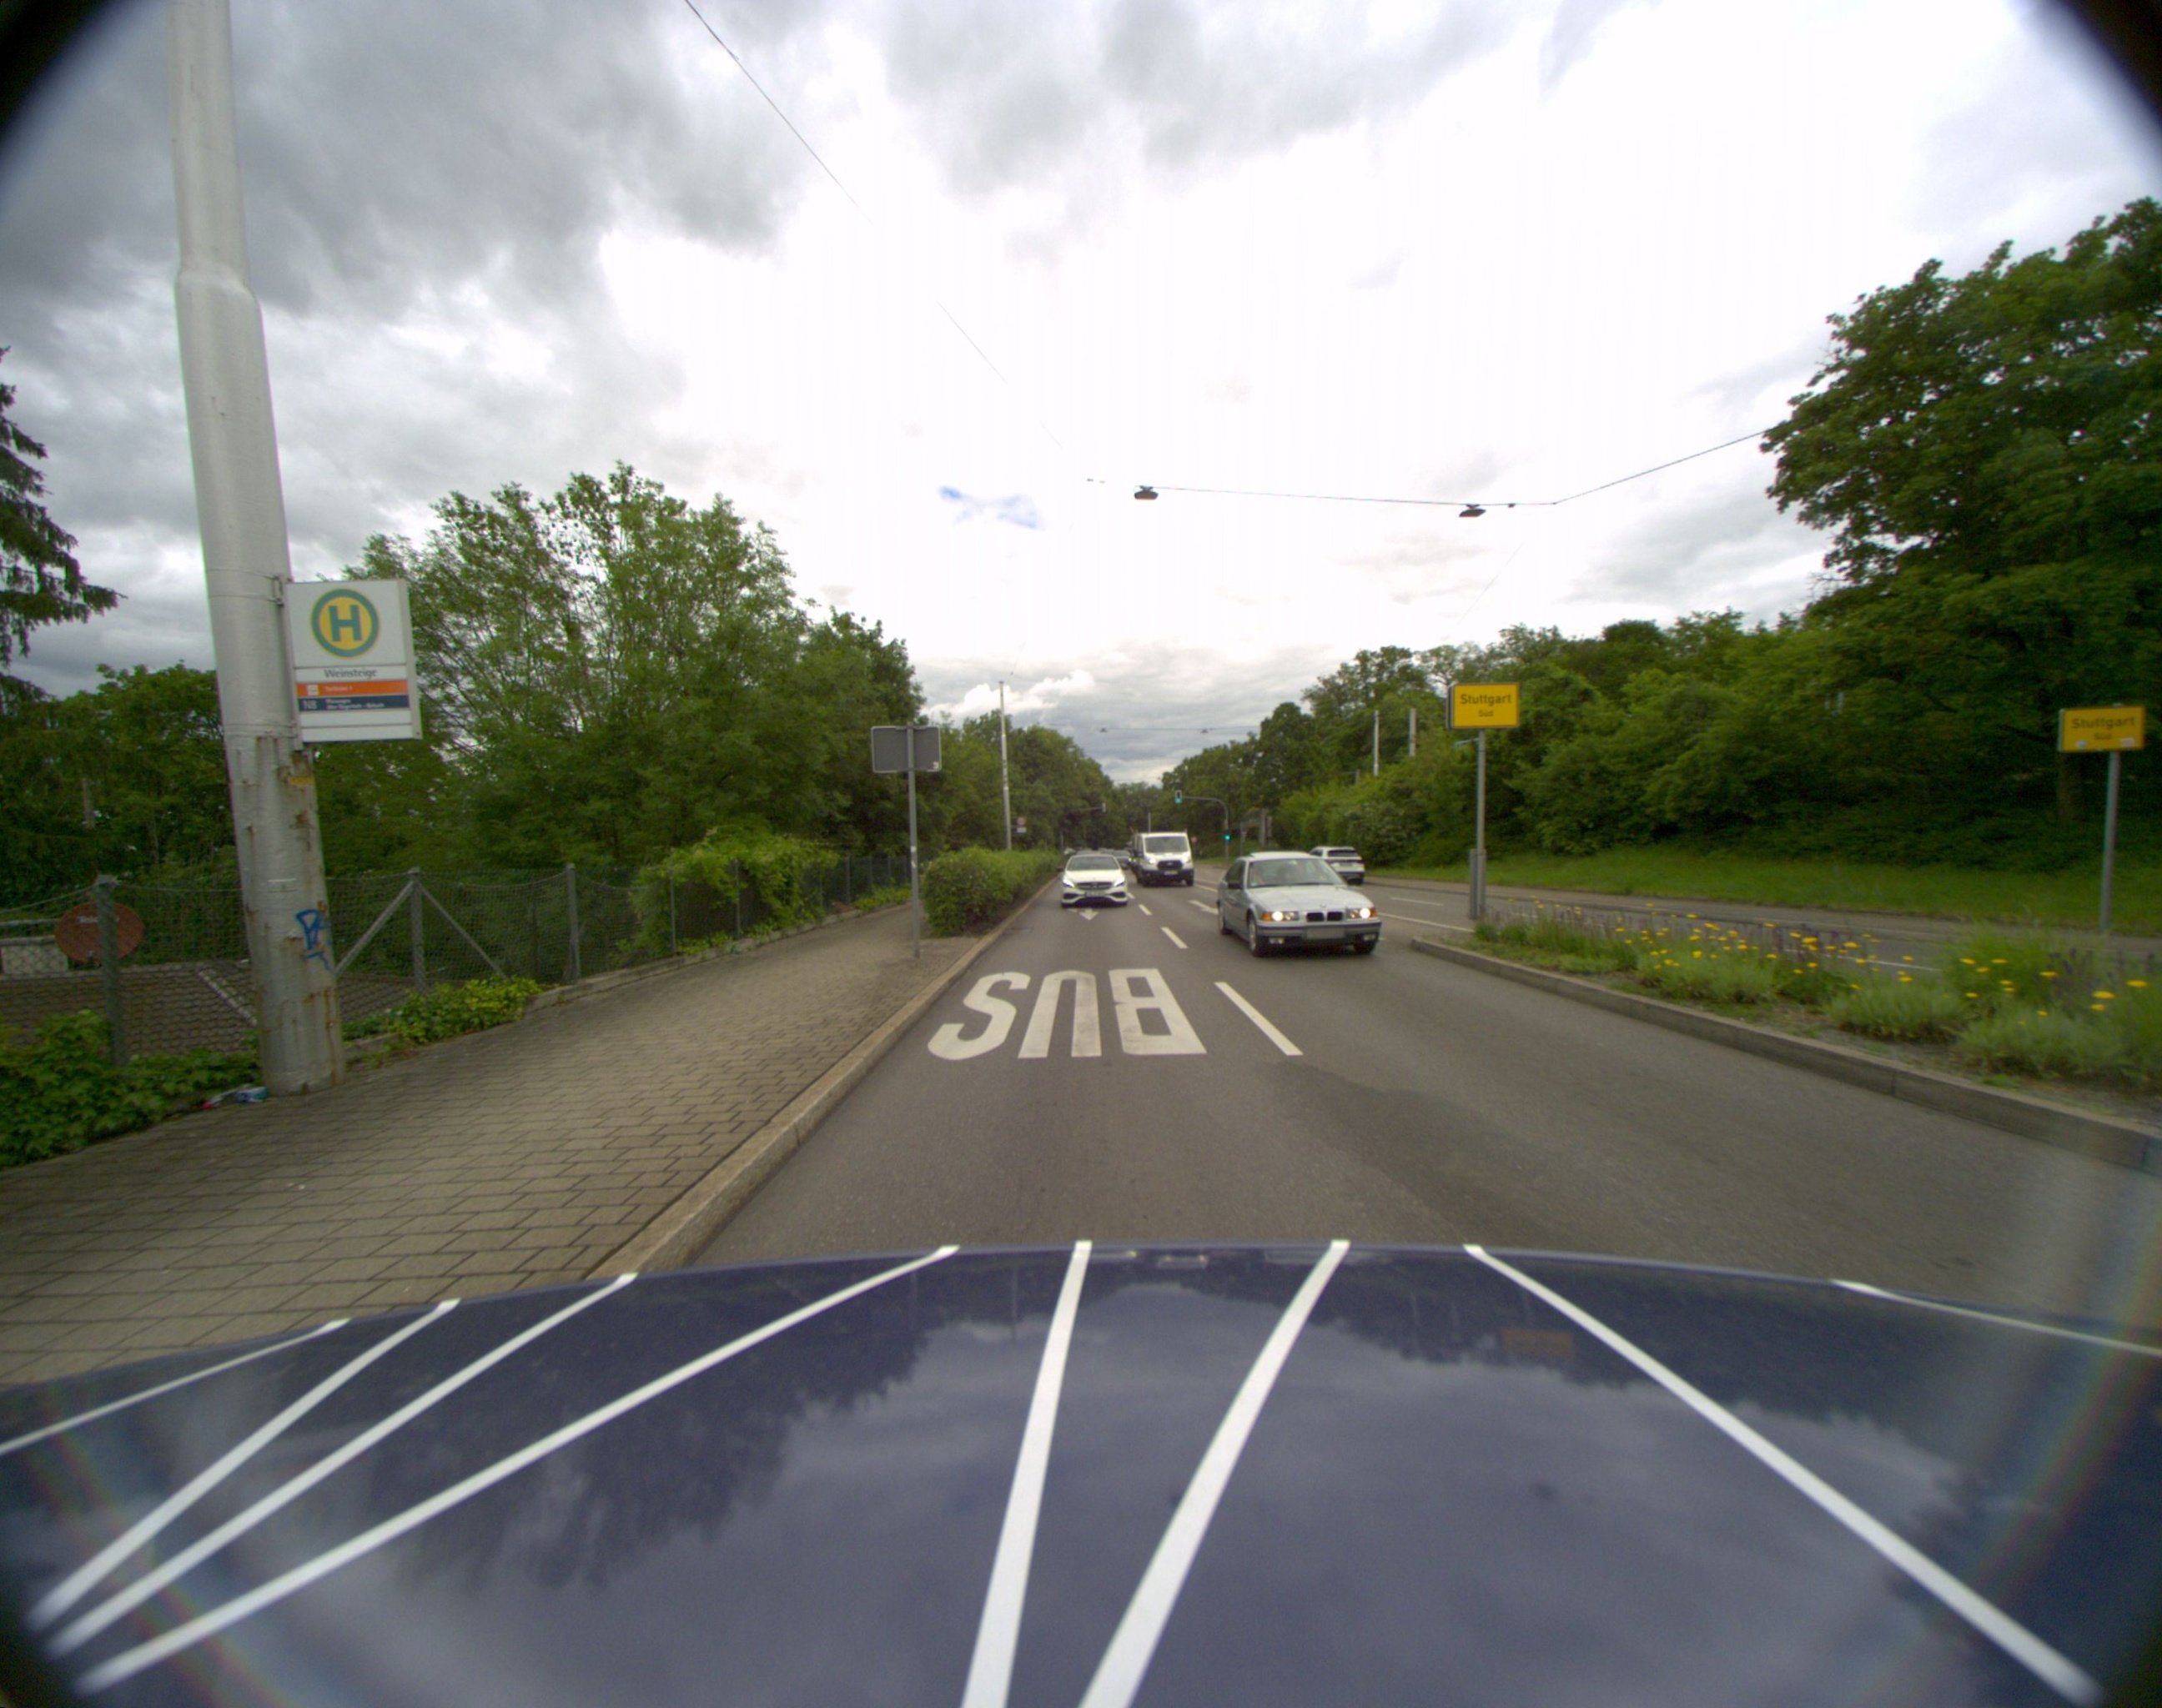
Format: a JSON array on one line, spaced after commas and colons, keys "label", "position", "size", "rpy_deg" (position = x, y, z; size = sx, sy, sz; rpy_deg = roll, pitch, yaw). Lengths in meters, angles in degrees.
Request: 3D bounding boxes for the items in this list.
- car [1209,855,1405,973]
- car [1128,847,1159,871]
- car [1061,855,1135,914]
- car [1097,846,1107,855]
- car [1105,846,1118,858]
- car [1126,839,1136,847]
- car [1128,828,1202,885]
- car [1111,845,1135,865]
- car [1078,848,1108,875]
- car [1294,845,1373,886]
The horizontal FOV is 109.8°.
[{"label": "car", "position": [3.137, 0.739, 11.562], "size": [1.757, 1.385, 4.615], "rpy_deg": [0, 1, 2]}, {"label": "car", "position": [4.041, 0.293, 49.681], "size": [1.677, 1.532, 4.553], "rpy_deg": [-1, 1, 1]}, {"label": "car", "position": [0.417, 0.739, 20.701], "size": [1.807, 1.385, 4.283], "rpy_deg": [-1, 1, 0]}, {"label": "car", "position": [3.743, -0.639, 133.263], "size": [1.677, 1.532, 4.615], "rpy_deg": [-1, 0, 2]}, {"label": "car", "position": [3.995, -0.249, 99.753], "size": [1.677, 1.532, 4.615], "rpy_deg": [-1, 0, 1]}, {"label": "car", "position": [12.011, -2.521, 181.275], "size": [1.761, 1.863, 4.618], "rpy_deg": [0, 0, 10]}, {"label": "car", "position": [3.401, 0.057, 32.361], "size": [2.253, 2.114, 6.668], "rpy_deg": [-1, 1, -1]}, {"label": "car", "position": [3.467, 0.059, 63.403], "size": [1.678, 1.532, 4.614], "rpy_deg": [-2, 1, -1]}, {"label": "car", "position": [0.677, 0.394, 45.405], "size": [1.678, 1.532, 4.614], "rpy_deg": [-1, 1, -1]}, {"label": "car", "position": [10.464, 0.436, 31.786], "size": [1.733, 1.532, 4.042], "rpy_deg": [-2, 1, -3]}]
